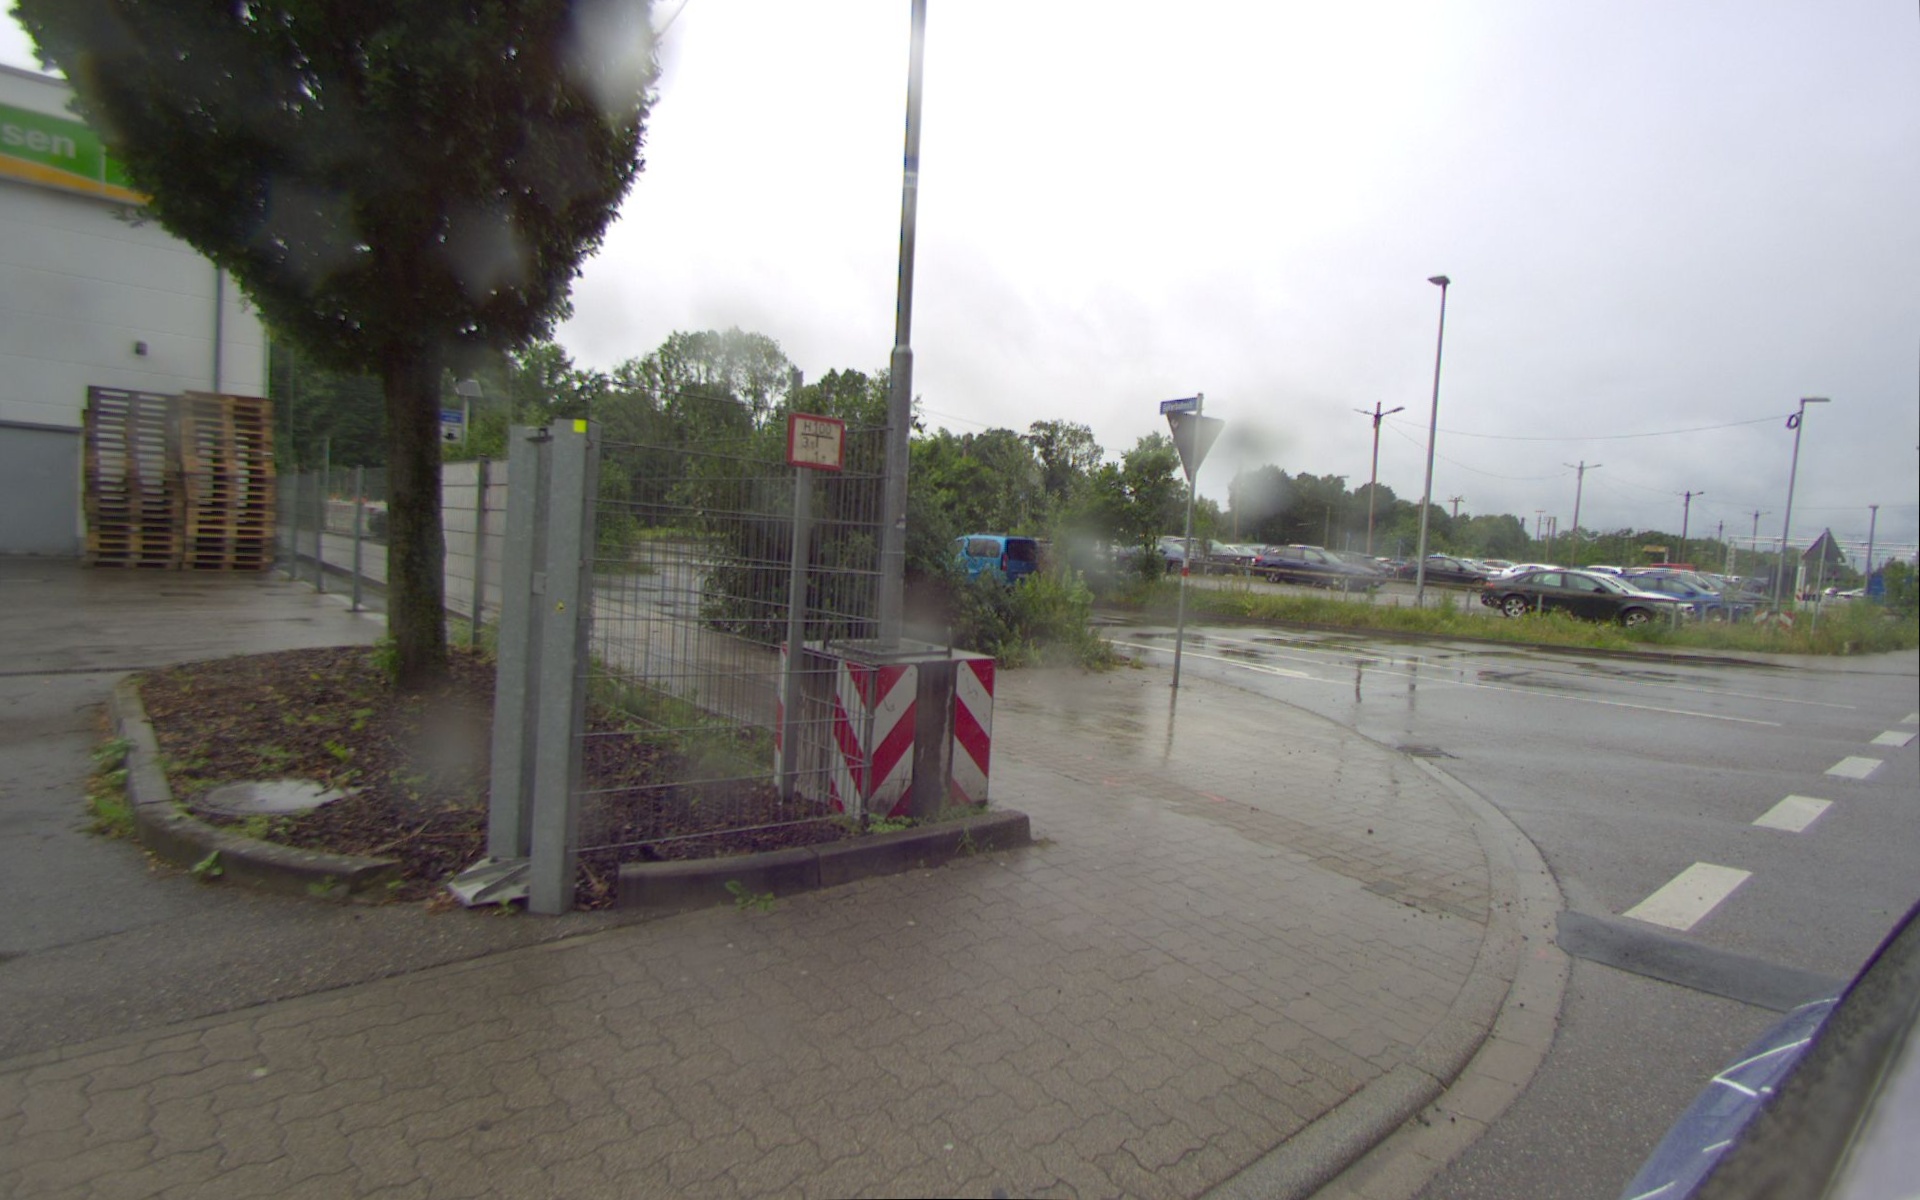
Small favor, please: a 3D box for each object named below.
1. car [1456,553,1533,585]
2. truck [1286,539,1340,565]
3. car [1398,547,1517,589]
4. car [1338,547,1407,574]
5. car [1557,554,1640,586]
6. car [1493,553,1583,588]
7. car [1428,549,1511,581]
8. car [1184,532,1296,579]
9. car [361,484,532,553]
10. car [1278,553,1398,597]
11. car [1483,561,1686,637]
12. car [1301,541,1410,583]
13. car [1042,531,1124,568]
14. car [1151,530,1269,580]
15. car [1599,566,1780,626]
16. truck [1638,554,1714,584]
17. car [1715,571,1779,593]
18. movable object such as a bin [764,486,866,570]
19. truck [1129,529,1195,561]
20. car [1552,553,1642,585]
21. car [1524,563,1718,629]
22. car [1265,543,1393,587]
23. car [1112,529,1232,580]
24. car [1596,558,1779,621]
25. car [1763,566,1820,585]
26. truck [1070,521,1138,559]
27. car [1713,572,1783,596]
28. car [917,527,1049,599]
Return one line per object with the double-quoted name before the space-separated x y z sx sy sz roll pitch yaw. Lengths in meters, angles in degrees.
"car" 35.661 -2.122 67.609 1.801 1.677 4.070 -2 9 -42
"truck" 31.765 -4.316 91.108 5.185 2.037 2.088 0 5 -40
"car" 23.464 -1.563 47.824 4.622 1.736 1.988 6 6 44
"car" 31.134 -2.980 76.456 1.987 1.741 4.326 -1 6 -43
"car" 39.941 -1.909 63.336 1.754 1.601 3.918 -1 8 -38
"car" 32.006 -1.659 56.115 1.893 1.500 3.845 -1 8 -38
"car" 31.707 -2.214 63.071 1.893 1.623 4.074 -2 8 -39
"car" 12.618 -2.045 45.796 2.008 1.691 4.454 -2 8 -41
"car" -15.633 -2.459 30.923 4.312 1.844 1.787 -1 7 -45
"car" 14.917 -1.039 40.082 1.965 1.503 3.998 -2 5 -40
"car" 16.434 -0.105 26.756 4.218 1.416 1.863 10 8 41
"car" 20.135 -1.983 51.653 2.008 1.623 4.716 -2 8 -41
"car" 6.662 -2.751 55.126 3.985 1.748 1.870 7 5 40
"car" 10.690 -1.967 43.543 2.010 1.691 4.451 -2 9 -43
"car" 23.137 -0.193 32.224 1.788 1.534 4.307 -2 5 -40
"truck" 66.492 -2.895 94.051 2.116 2.395 5.302 0 6 -41
"car" 68.130 -1.578 87.627 1.853 1.443 3.966 -1 7 -38
"movable object such as a bin" -5.642 -2.792 39.019 1.965 3.028 3.996 0 4 -41
"truck" 15.665 -4.250 78.309 4.988 2.163 2.080 1 5 -36
"car" 38.123 -1.883 60.659 1.893 1.500 4.061 -1 8 -38
"car" 18.556 -0.176 28.568 1.857 1.527 4.193 -2 5 -40
"car" 13.666 -1.344 37.660 1.965 1.425 3.998 -2 5 -40
"car" 8.708 -1.930 41.900 2.010 1.691 4.451 -2 9 -43
"car" 25.427 -0.446 35.534 2.088 1.755 4.700 -1 6 -36
"car" 82.369 -2.454 100.274 1.774 1.554 3.966 -1 7 -38
"truck" 10.558 -4.362 73.999 4.996 2.430 2.077 0 5 -42
"car" 62.900 -1.326 80.832 1.746 1.507 3.966 -1 7 -38
"car" 0.647 -1.175 31.357 1.800 1.945 3.996 1 4 -42
